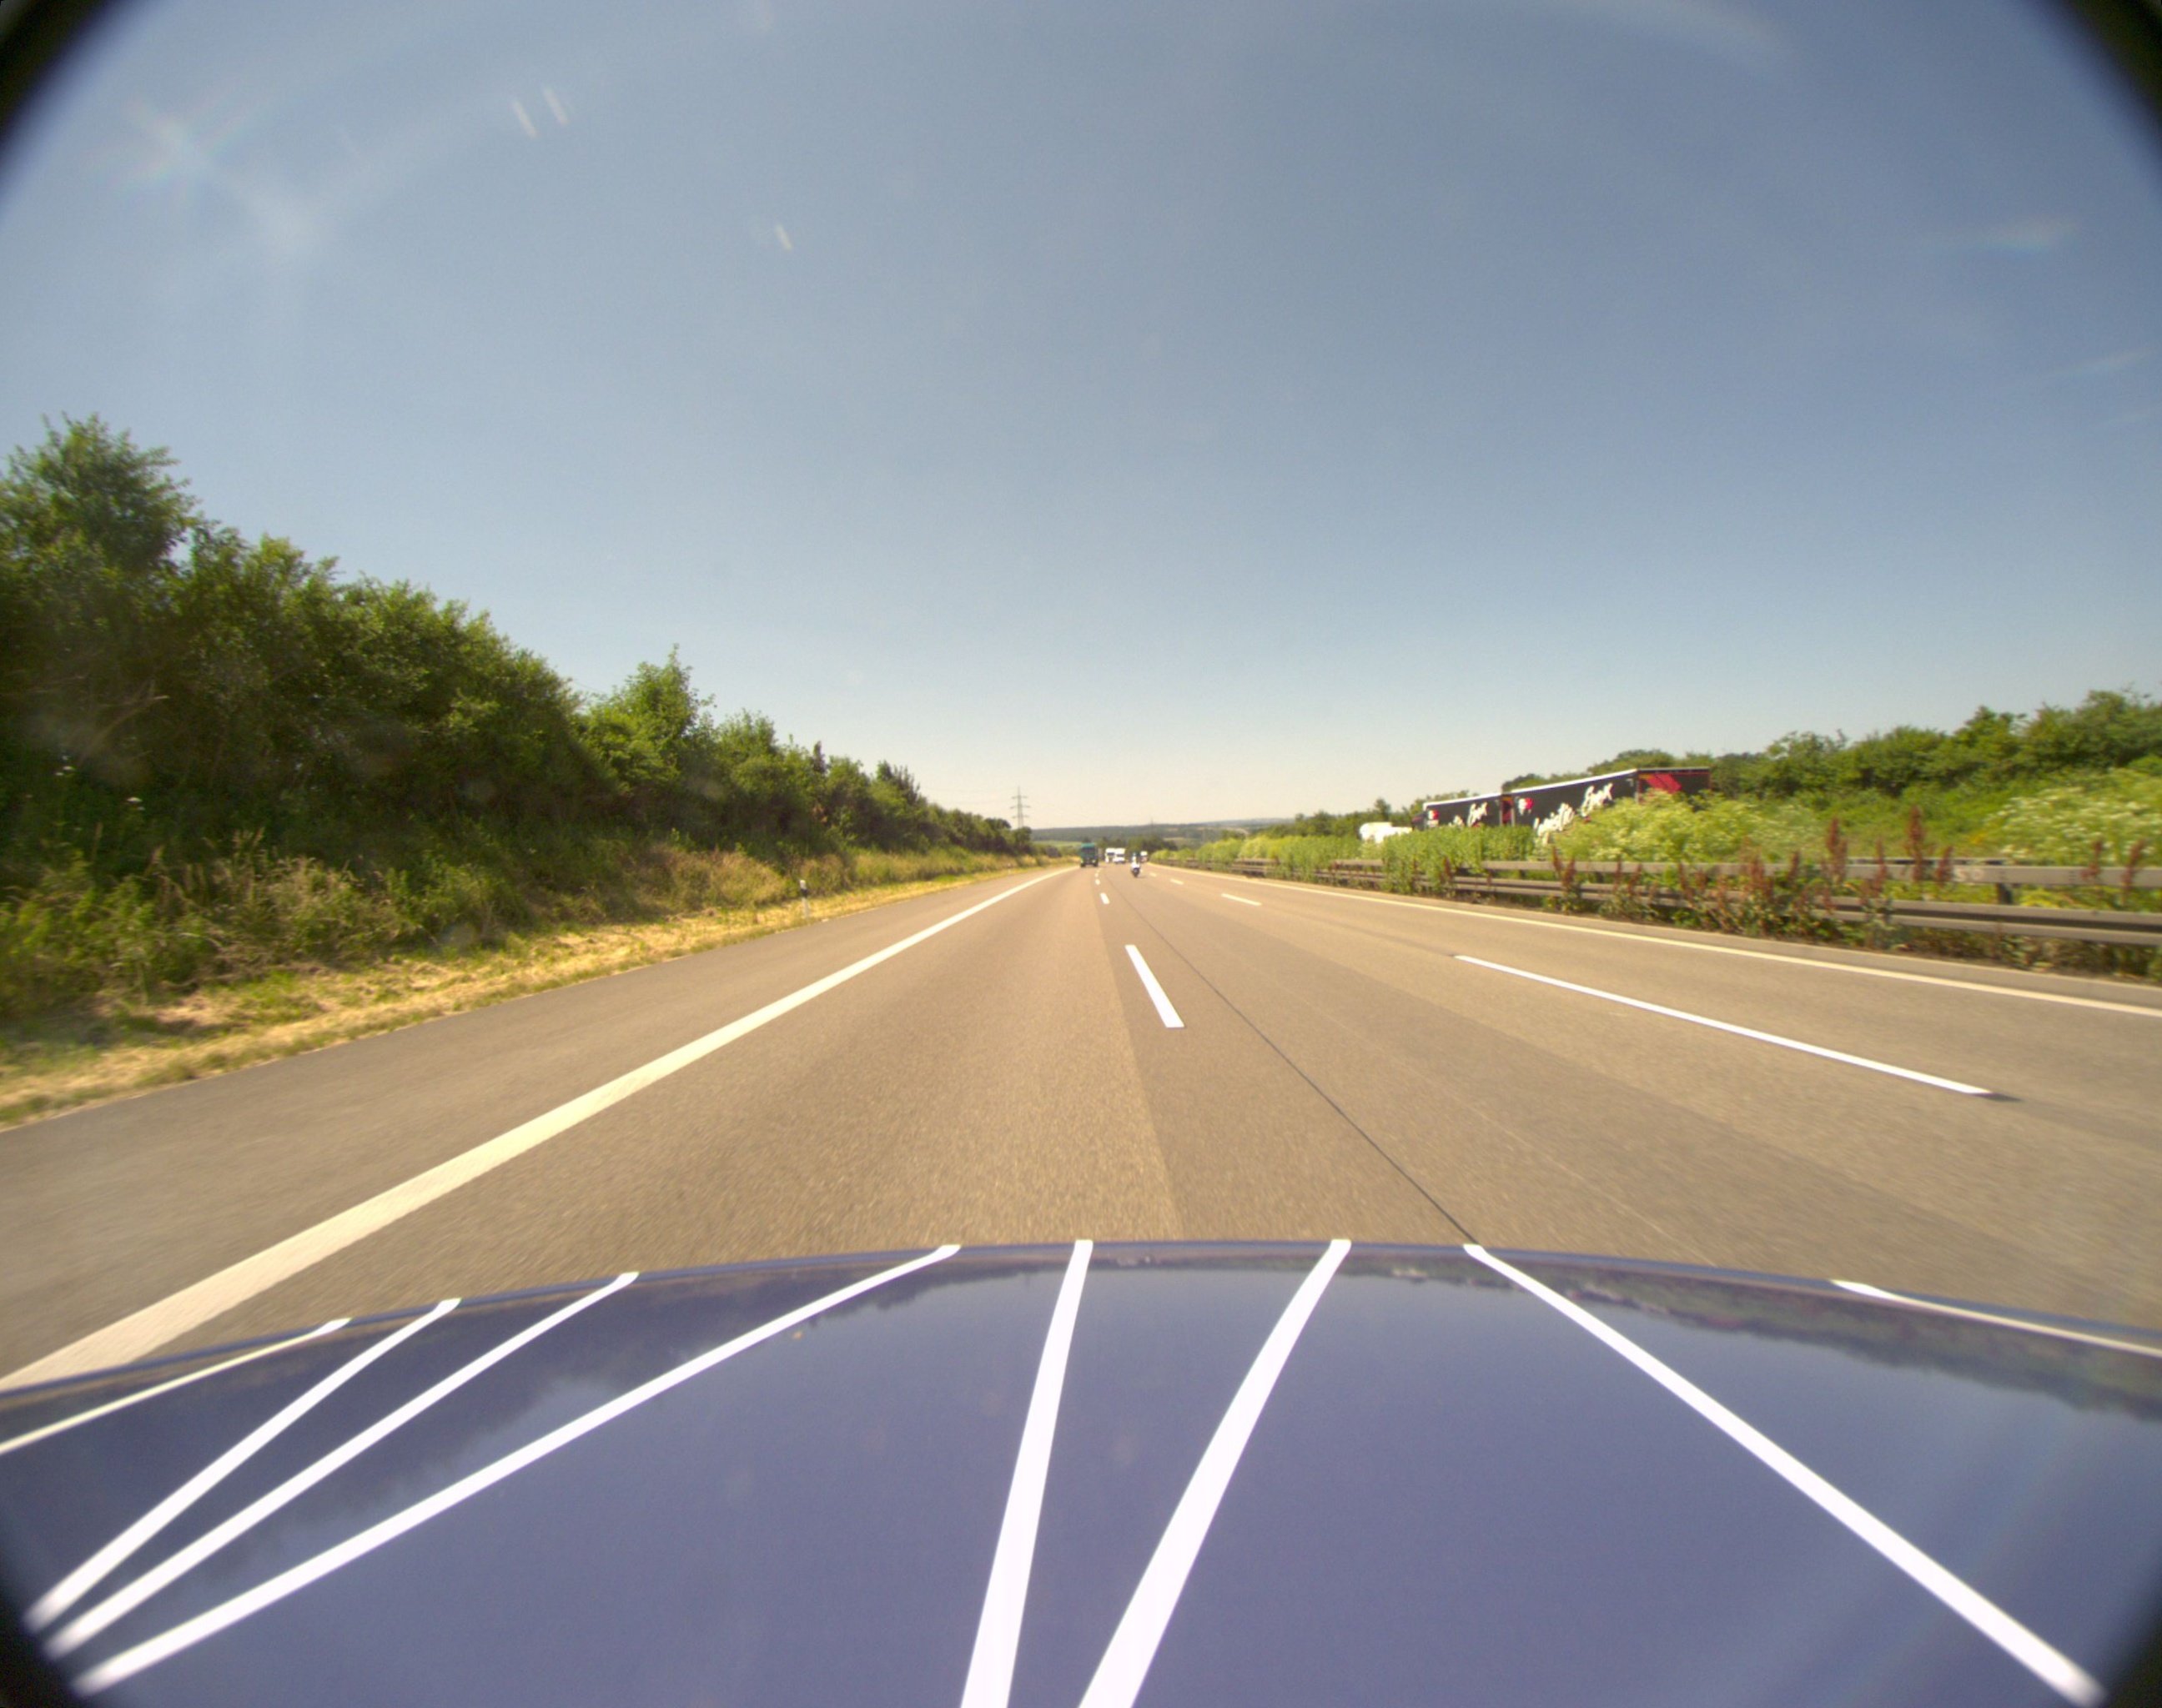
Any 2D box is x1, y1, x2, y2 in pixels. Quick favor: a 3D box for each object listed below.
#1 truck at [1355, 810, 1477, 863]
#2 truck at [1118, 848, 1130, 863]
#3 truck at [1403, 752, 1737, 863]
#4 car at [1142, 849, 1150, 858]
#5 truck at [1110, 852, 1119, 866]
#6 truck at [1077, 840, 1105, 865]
[{"bbox_3d":[24.716,-1.130,57.400,2.465,3.436,14.686,-1,0,-1],"label":"truck"},{"bbox_3d":[9.396,0.350,166.540,2.512,3.268,8.108,0,0,2],"label":"truck"},{"bbox_3d":[20.745,-1.579,35.369,3.238,3.590,18.529,-4,0,-1],"label":"truck"},{"bbox_3d":[14.586,-0.005,171.127,1.704,1.958,4.001,-1,0,3],"label":"car"},{"bbox_3d":[9.636,1.469,218.488,2.567,4.129,6.250,-1,0,3],"label":"truck"},{"bbox_3d":[1.683,-0.196,118.144,2.871,3.702,12.770,-1,0,7],"label":"truck"}]
